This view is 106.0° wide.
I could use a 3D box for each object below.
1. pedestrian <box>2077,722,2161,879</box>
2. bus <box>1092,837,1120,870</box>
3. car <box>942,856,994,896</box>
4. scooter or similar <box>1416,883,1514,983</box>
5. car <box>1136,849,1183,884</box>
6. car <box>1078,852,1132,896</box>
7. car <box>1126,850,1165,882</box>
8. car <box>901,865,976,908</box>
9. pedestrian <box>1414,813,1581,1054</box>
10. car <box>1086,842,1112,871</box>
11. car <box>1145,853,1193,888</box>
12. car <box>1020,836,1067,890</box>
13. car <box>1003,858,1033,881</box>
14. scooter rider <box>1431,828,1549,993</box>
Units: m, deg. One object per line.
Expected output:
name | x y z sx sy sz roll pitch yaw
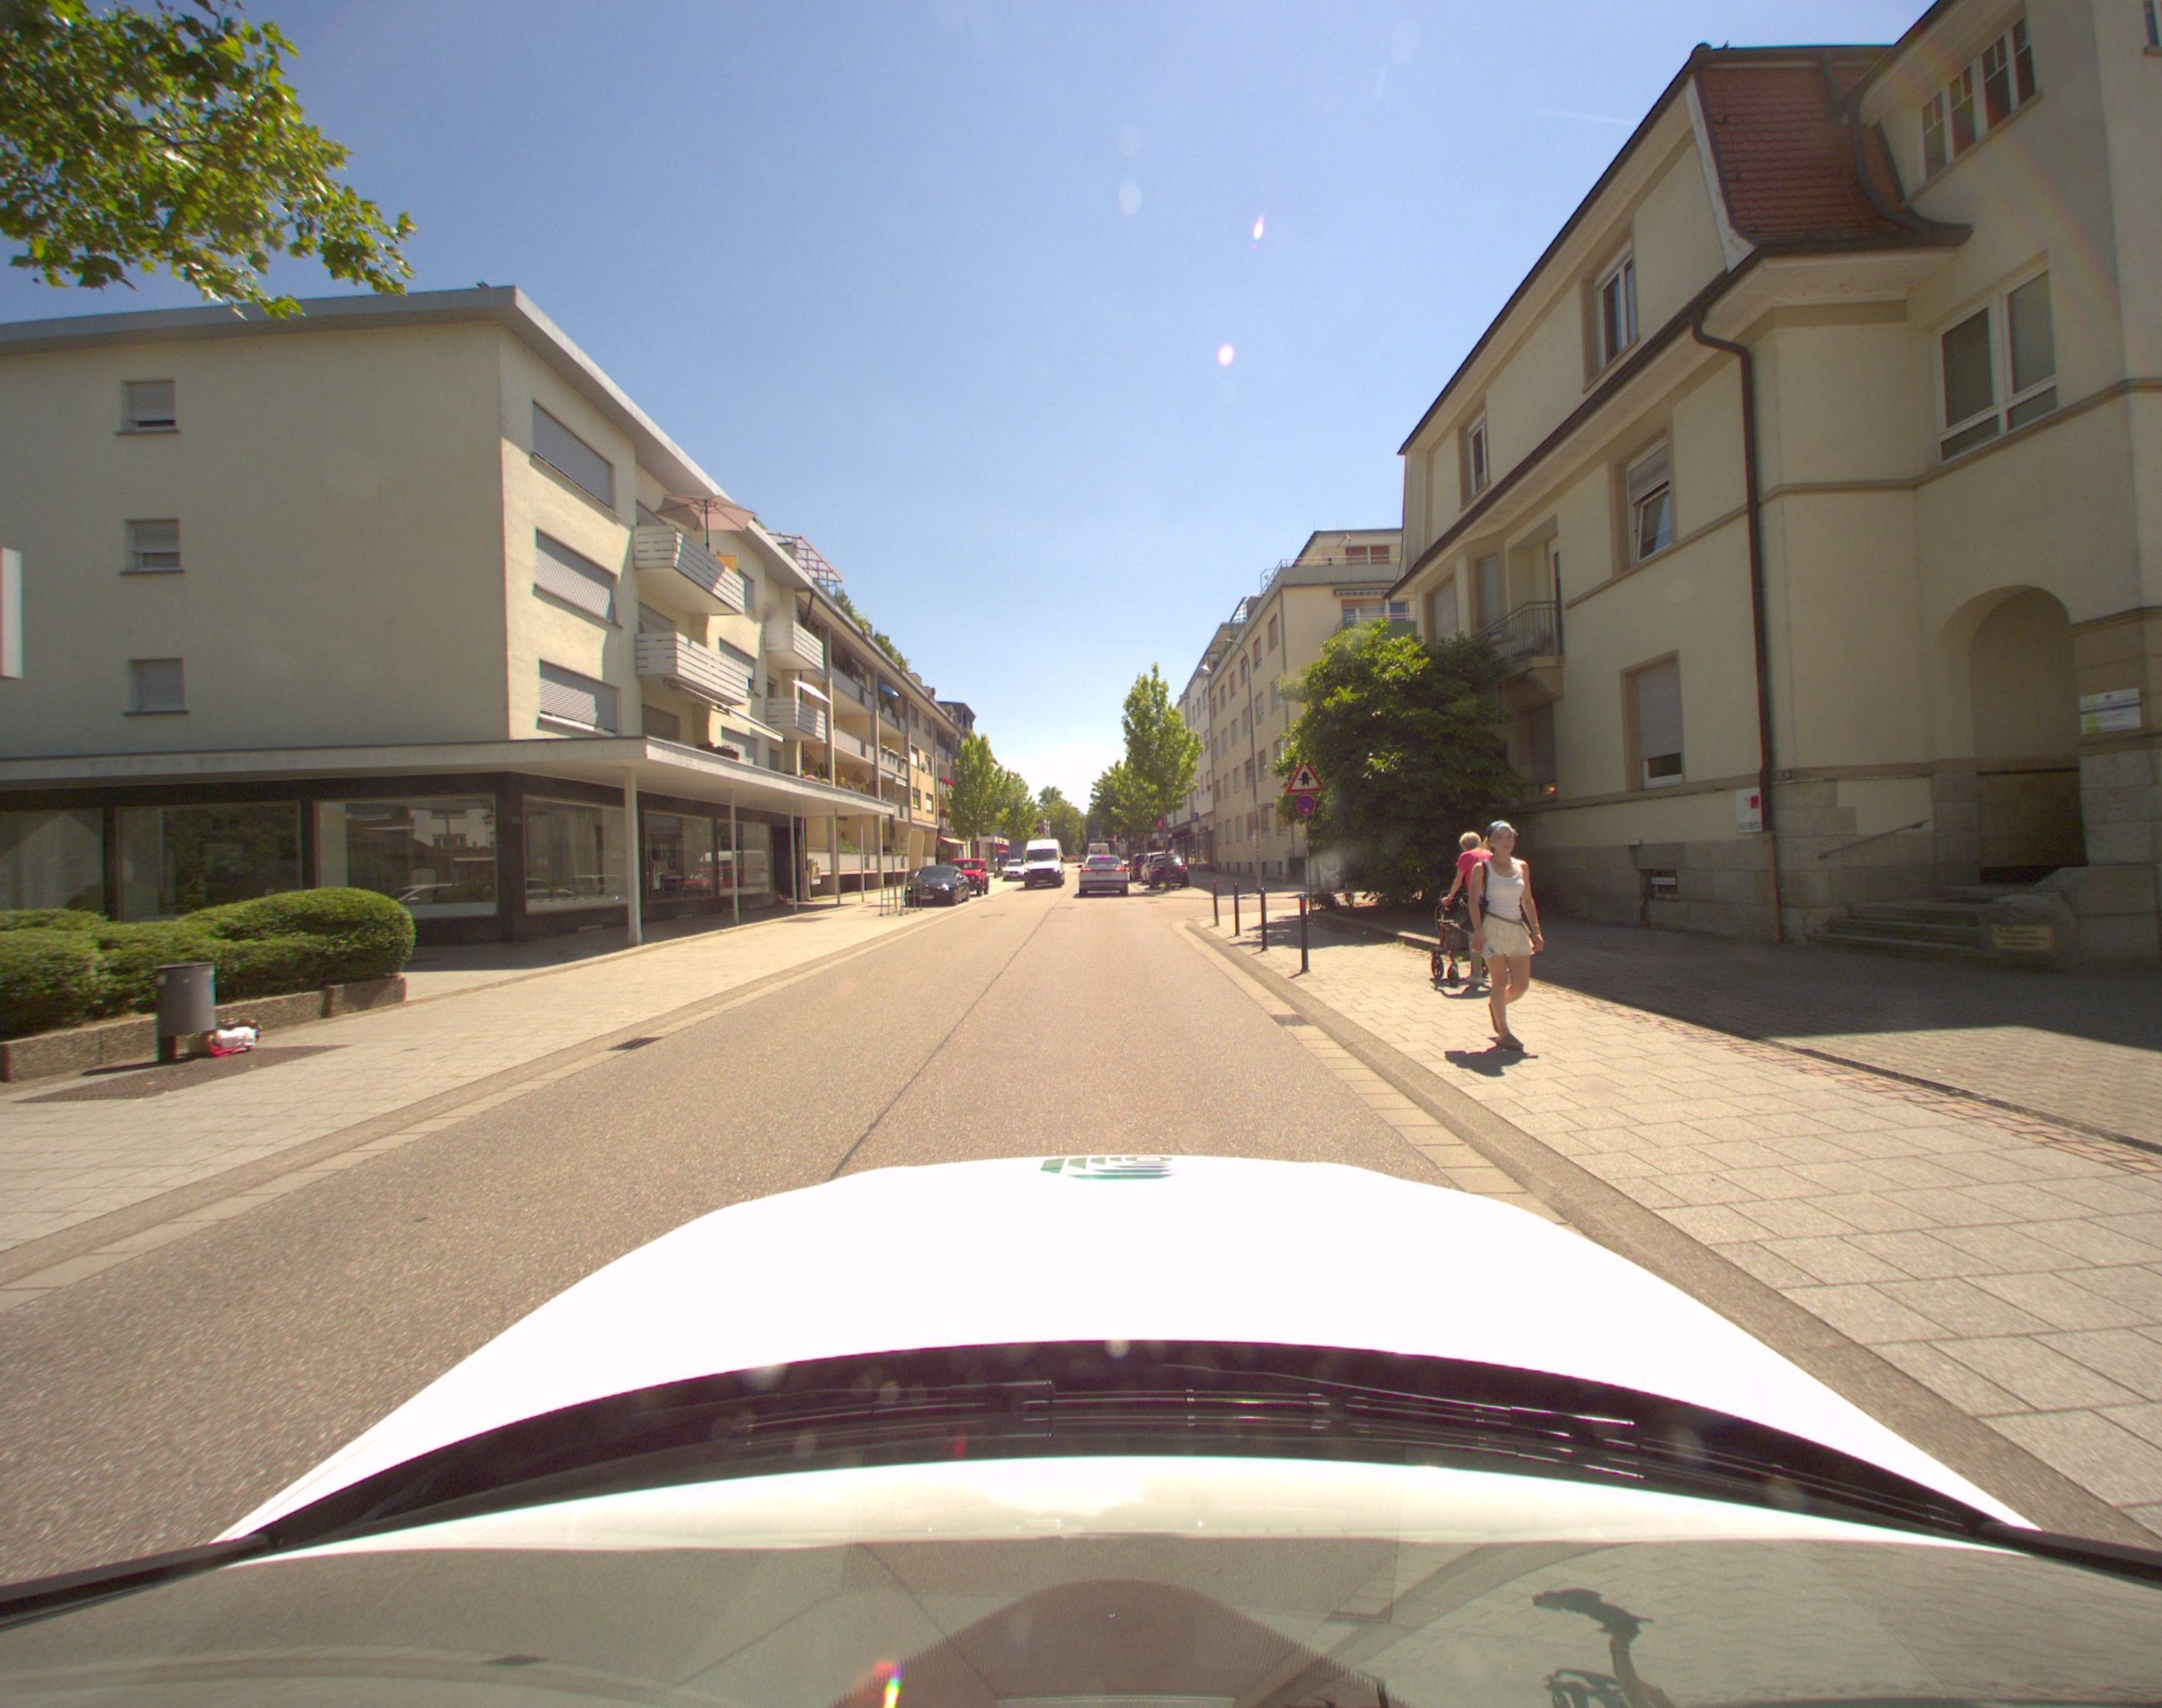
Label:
pedestrian | 11.678 -0.577 9.002 0.587 1.658 0.743 -2 -1 32
bus | 2.634 -0.023 85.243 2.649 3.221 7.308 0 -1 4
car | -5.094 0.969 37.138 1.746 1.702 4.101 0 0 1
scooter or similar | 4.127 0.832 8.805 0.661 0.963 0.754 -3 0 0
car | 4.177 0.650 43.924 1.891 1.674 4.688 -4 0 -1
car | 0.903 0.779 32.745 1.987 1.633 3.999 -1 0 0
car | 3.852 0.703 49.271 1.851 1.674 4.534 -4 0 -1
car | -5.253 1.164 30.662 1.890 1.417 5.047 0 0 1
pedestrian | 3.073 0.560 6.091 0.698 1.626 0.783 -5 -1 -1
car | 1.598 0.240 71.332 2.148 2.442 5.284 0 -1 1
car | 4.016 0.718 37.782 1.888 1.438 4.547 -2 0 3
car | -1.961 0.447 45.259 2.029 2.630 7.108 -4 0 1
car | -4.645 1.120 60.449 1.745 1.618 4.403 0 0 2
scooter rider | 4.096 0.543 8.210 0.714 1.548 0.770 -3 0 -1
